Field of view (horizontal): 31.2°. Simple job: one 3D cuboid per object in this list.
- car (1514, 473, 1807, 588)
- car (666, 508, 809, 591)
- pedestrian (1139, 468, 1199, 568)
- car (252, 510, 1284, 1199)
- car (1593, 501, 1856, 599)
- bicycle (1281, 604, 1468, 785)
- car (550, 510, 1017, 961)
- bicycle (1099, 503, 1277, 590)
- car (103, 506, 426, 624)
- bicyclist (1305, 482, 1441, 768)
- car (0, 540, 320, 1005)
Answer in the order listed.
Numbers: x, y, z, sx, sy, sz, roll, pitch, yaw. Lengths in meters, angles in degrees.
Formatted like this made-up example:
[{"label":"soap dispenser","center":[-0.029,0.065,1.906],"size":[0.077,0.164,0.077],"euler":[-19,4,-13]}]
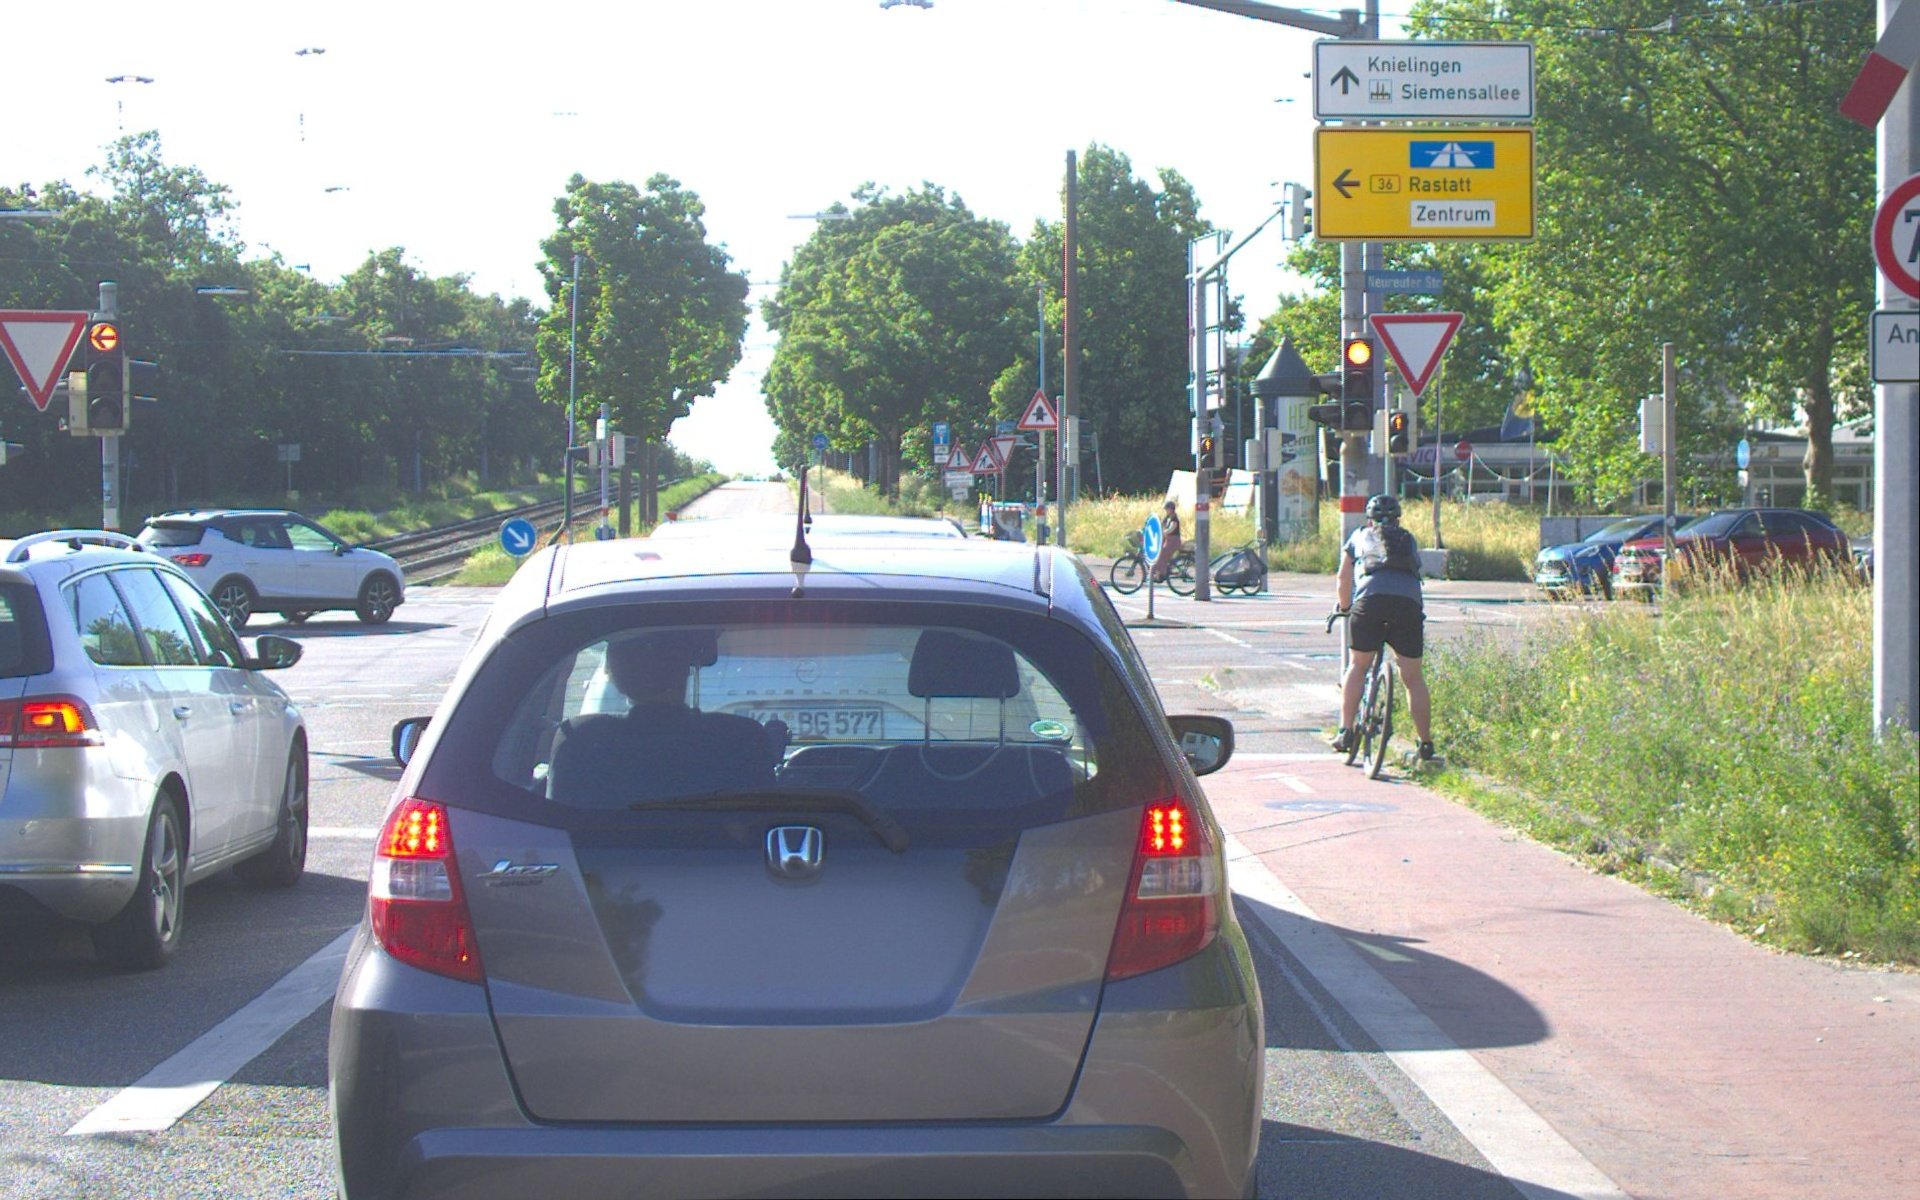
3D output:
[{"label":"car","center":[12.272,-1.203,60.260],"size":[4.686,1.873,2.001],"euler":[1,1,-23]},{"label":"car","center":[-3.786,-0.884,59.024],"size":[1.523,1.374,3.674],"euler":[0,1,12]},{"label":"pedestrian","center":[3.849,-1.506,63.347],"size":[0.852,1.830,0.791],"euler":[-1,1,-18]},{"label":"car","center":[-0.398,0.547,7.369],"size":[1.668,1.457,3.587],"euler":[0,1,-3]},{"label":"car","center":[12.444,-0.831,55.977],"size":[3.986,1.525,1.606],"euler":[-1,2,-23]},{"label":"bicycle","center":[2.524,0.548,21.258],"size":[0.722,0.985,2.876],"euler":[1,1,-1]},{"label":"car","center":[-0.653,0.427,14.005],"size":[1.611,1.557,4.288],"euler":[0,1,-1]},{"label":"bicycle","center":[4.213,-1.001,63.483],"size":[3.203,1.569,0.821],"euler":[-1,1,-18]},{"label":"car","center":[-9.150,-0.491,45.458],"size":[1.714,1.473,3.991],"euler":[1,2,40]},{"label":"bicyclist","center":[2.535,0.144,21.172],"size":[0.666,1.710,0.948],"euler":[1,1,-1]},{"label":"car","center":[-3.536,0.507,12.787],"size":[1.619,1.452,4.085],"euler":[1,1,-1]}]
